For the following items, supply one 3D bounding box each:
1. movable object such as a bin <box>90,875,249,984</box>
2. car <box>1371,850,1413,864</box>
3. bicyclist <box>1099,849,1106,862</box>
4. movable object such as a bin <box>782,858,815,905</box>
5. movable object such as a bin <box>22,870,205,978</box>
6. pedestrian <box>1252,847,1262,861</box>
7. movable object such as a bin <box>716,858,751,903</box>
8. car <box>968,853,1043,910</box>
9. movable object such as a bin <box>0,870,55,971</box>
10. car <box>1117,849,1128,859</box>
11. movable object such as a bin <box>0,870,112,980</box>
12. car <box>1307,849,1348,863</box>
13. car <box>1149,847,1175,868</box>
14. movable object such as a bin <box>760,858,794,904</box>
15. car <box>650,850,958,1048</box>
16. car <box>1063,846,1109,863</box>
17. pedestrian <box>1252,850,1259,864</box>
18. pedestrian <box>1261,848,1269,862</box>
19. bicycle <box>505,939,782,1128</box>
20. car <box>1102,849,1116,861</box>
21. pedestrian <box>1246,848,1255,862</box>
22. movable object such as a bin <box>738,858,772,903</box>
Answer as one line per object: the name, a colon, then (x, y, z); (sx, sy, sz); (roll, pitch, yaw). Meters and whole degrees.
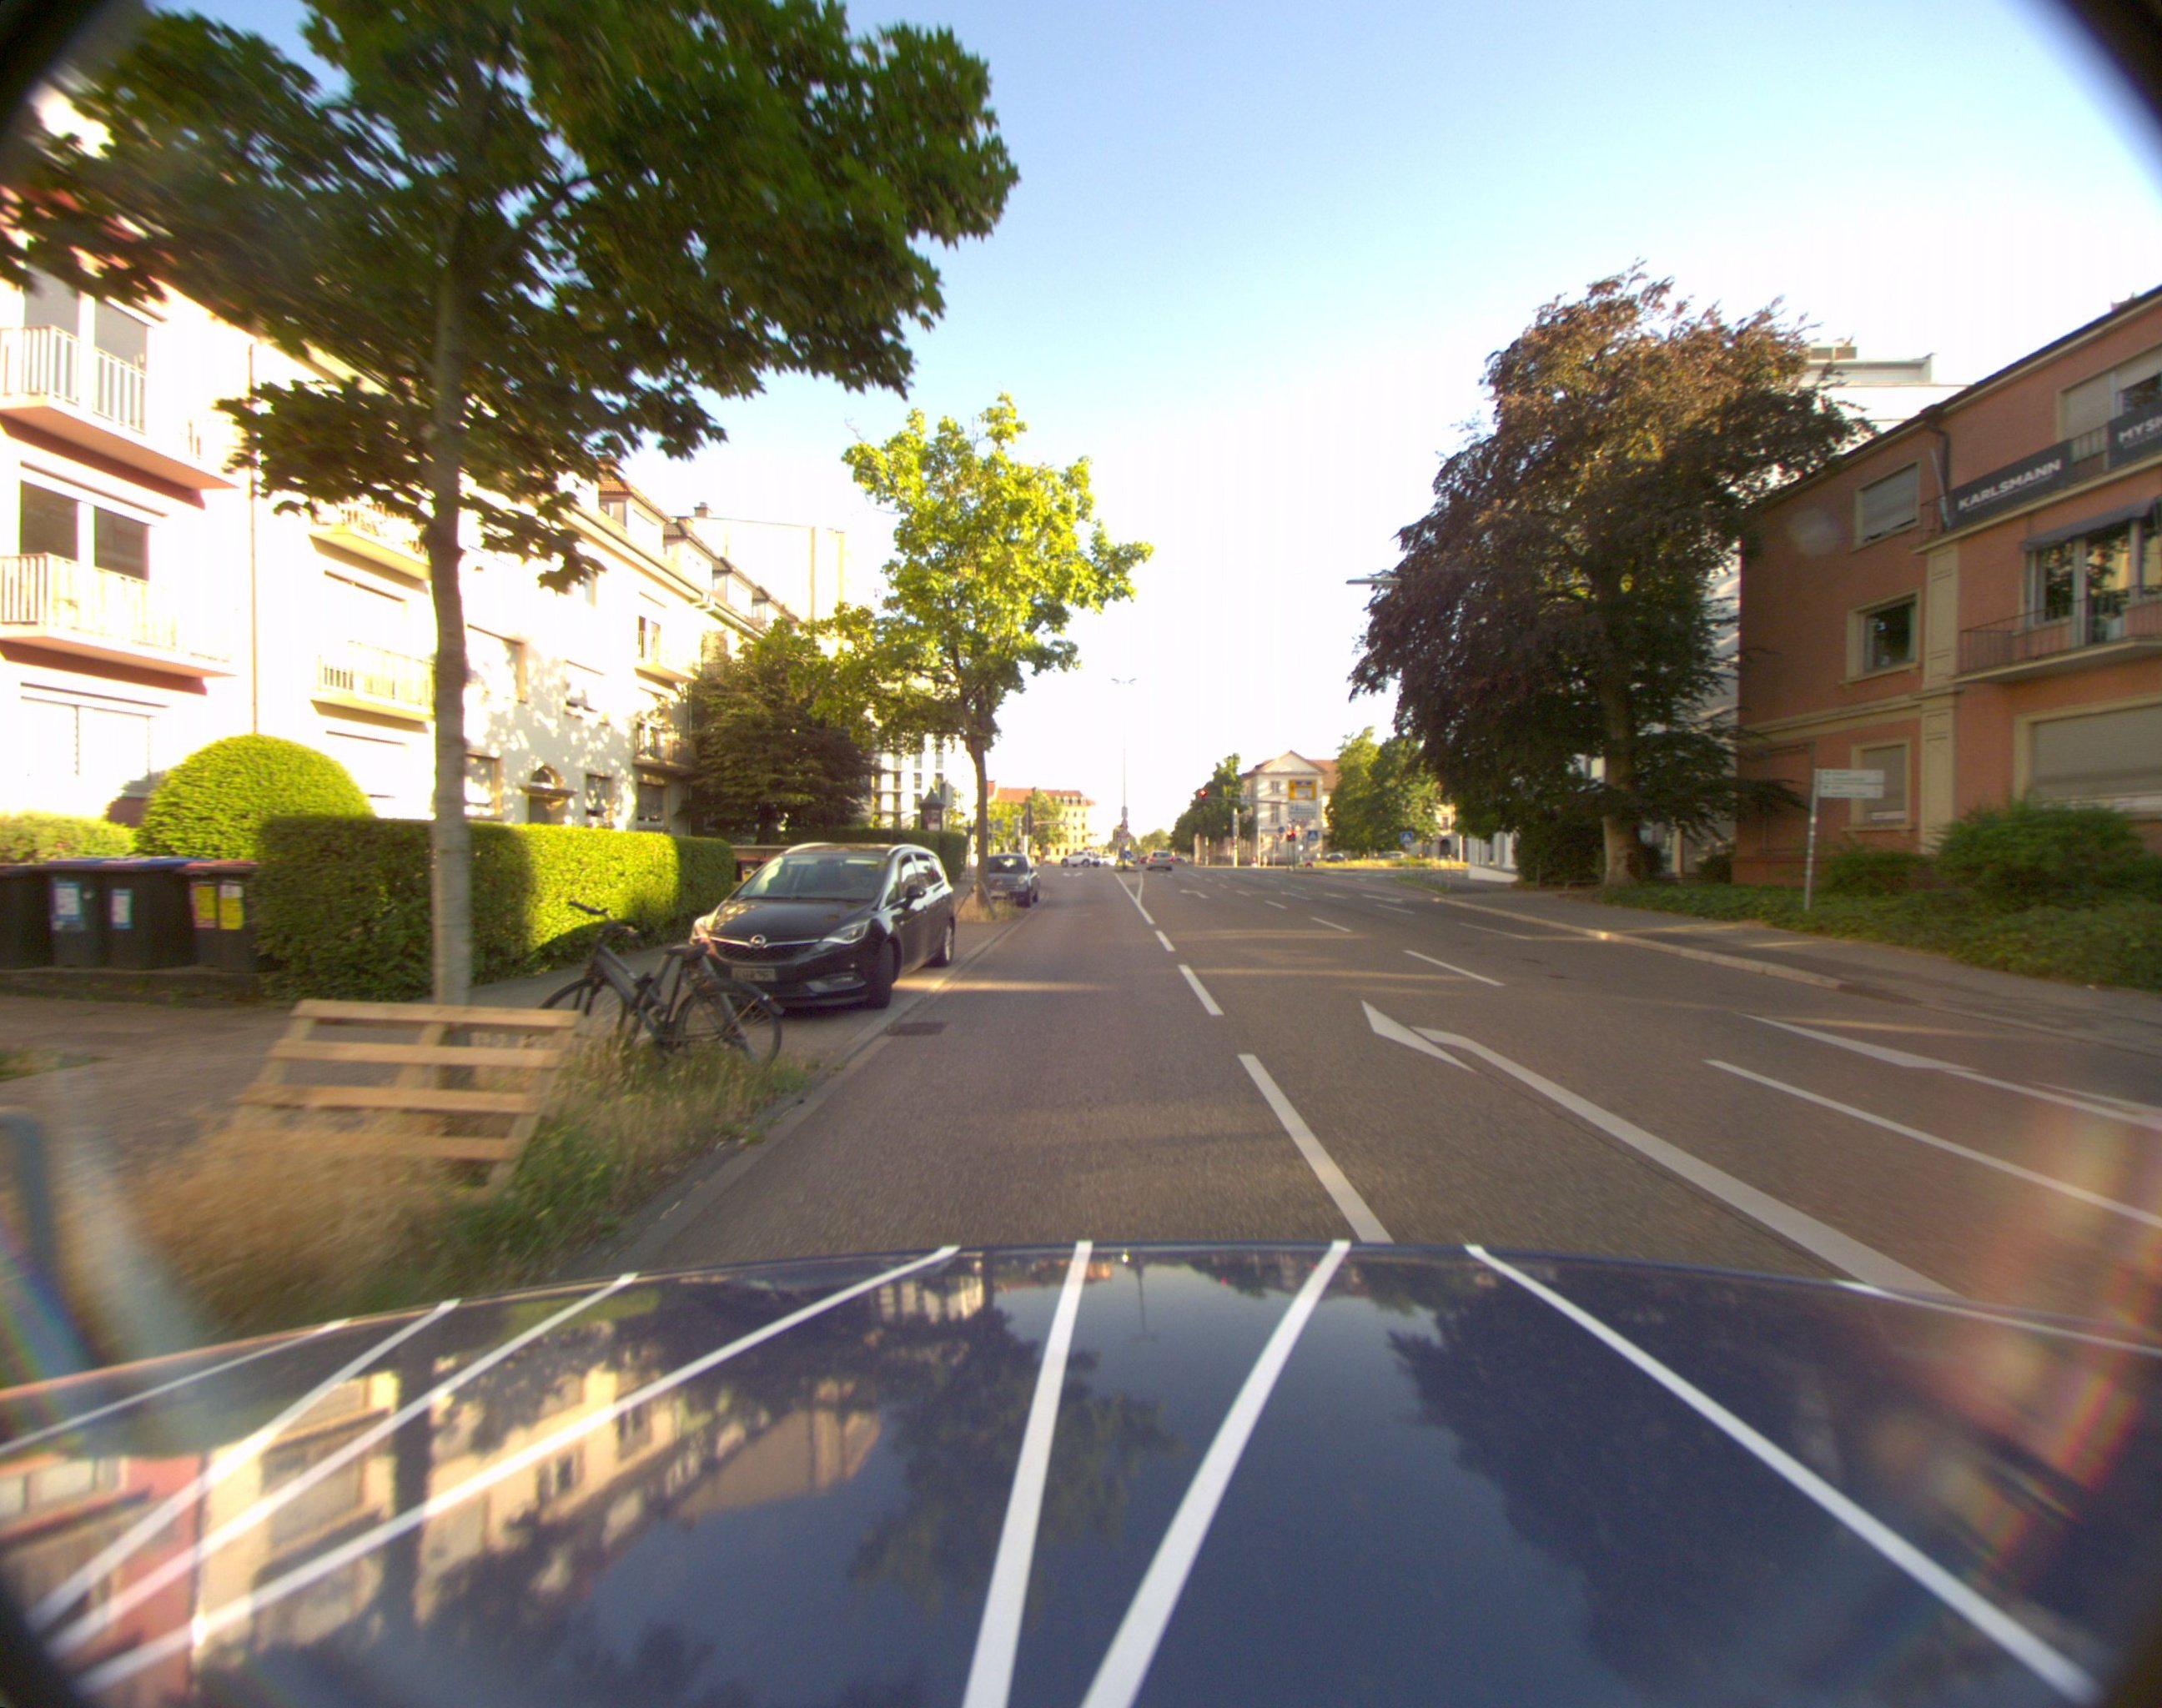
movable object such as a bin: (-8.935, 0.712, 7.483); (0.583, 0.996, 0.796); (0, 0, 1)
car: (33.058, 0.296, 80.940); (3.645, 1.437, 1.999); (0, 0, -3)
bicyclist: (2.623, 0.167, 94.287); (0.838, 1.594, 1.023); (0, 0, -1)
movable object such as a bin: (-7.648, 0.733, 20.590); (0.554, 1.232, 0.828); (0, 0, 2)
movable object such as a bin: (-9.522, 0.663, 7.514); (0.778, 0.996, 0.796); (0, 0, 1)
pedestrian: (22.511, 0.020, 97.078); (0.821, 1.838, 1.169); (0, 0, -7)
movable object such as a bin: (-9.460, 0.715, 20.718); (0.554, 1.187, 0.828); (0, 0, 2)
car: (-2.149, 0.756, 22.550); (1.736, 1.542, 3.646); (0, 0, 2)
movable object such as a bin: (-11.016, 0.667, 7.524); (0.612, 0.996, 0.796); (0, 0, 1)
car: (8.016, 0.005, 147.368); (1.832, 1.836, 4.947); (0, 0, 1)
movable object such as a bin: (-10.253, 0.665, 7.397); (0.612, 0.996, 0.796); (0, 0, 1)
car: (25.943, 0.207, 80.171); (3.645, 1.437, 1.999); (0, 0, -3)
car: (6.062, 0.260, 57.145); (1.831, 1.505, 4.606); (0, 0, 4)
movable object such as a bin: (-8.260, 0.725, 20.653); (0.554, 1.214, 0.828); (0, 0, 2)
car: (-2.648, 0.789, 8.447); (1.736, 1.641, 4.291); (0, 0, 2)
car: (0.458, 0.038, 69.113); (3.890, 1.452, 1.837); (0, 0, 39)
pedestrian: (21.199, 0.333, 92.351); (0.621, 1.641, 0.889); (0, 0, -7)
pedestrian: (22.326, 0.143, 92.406); (0.678, 1.641, 0.882); (0, 0, -7)
bicycle: (-2.742, 1.110, 4.875); (1.482, 1.053, 0.411); (0, 1, -11)
car: (3.691, 0.156, 99.563); (1.764, 1.490, 3.708); (0, 0, 1)
pedestrian: (21.648, 0.109, 97.058); (0.678, 1.698, 1.084); (0, 0, -7)
movable object such as a bin: (-8.865, 0.717, 20.684); (0.554, 1.195, 0.828); (0, 0, 2)
